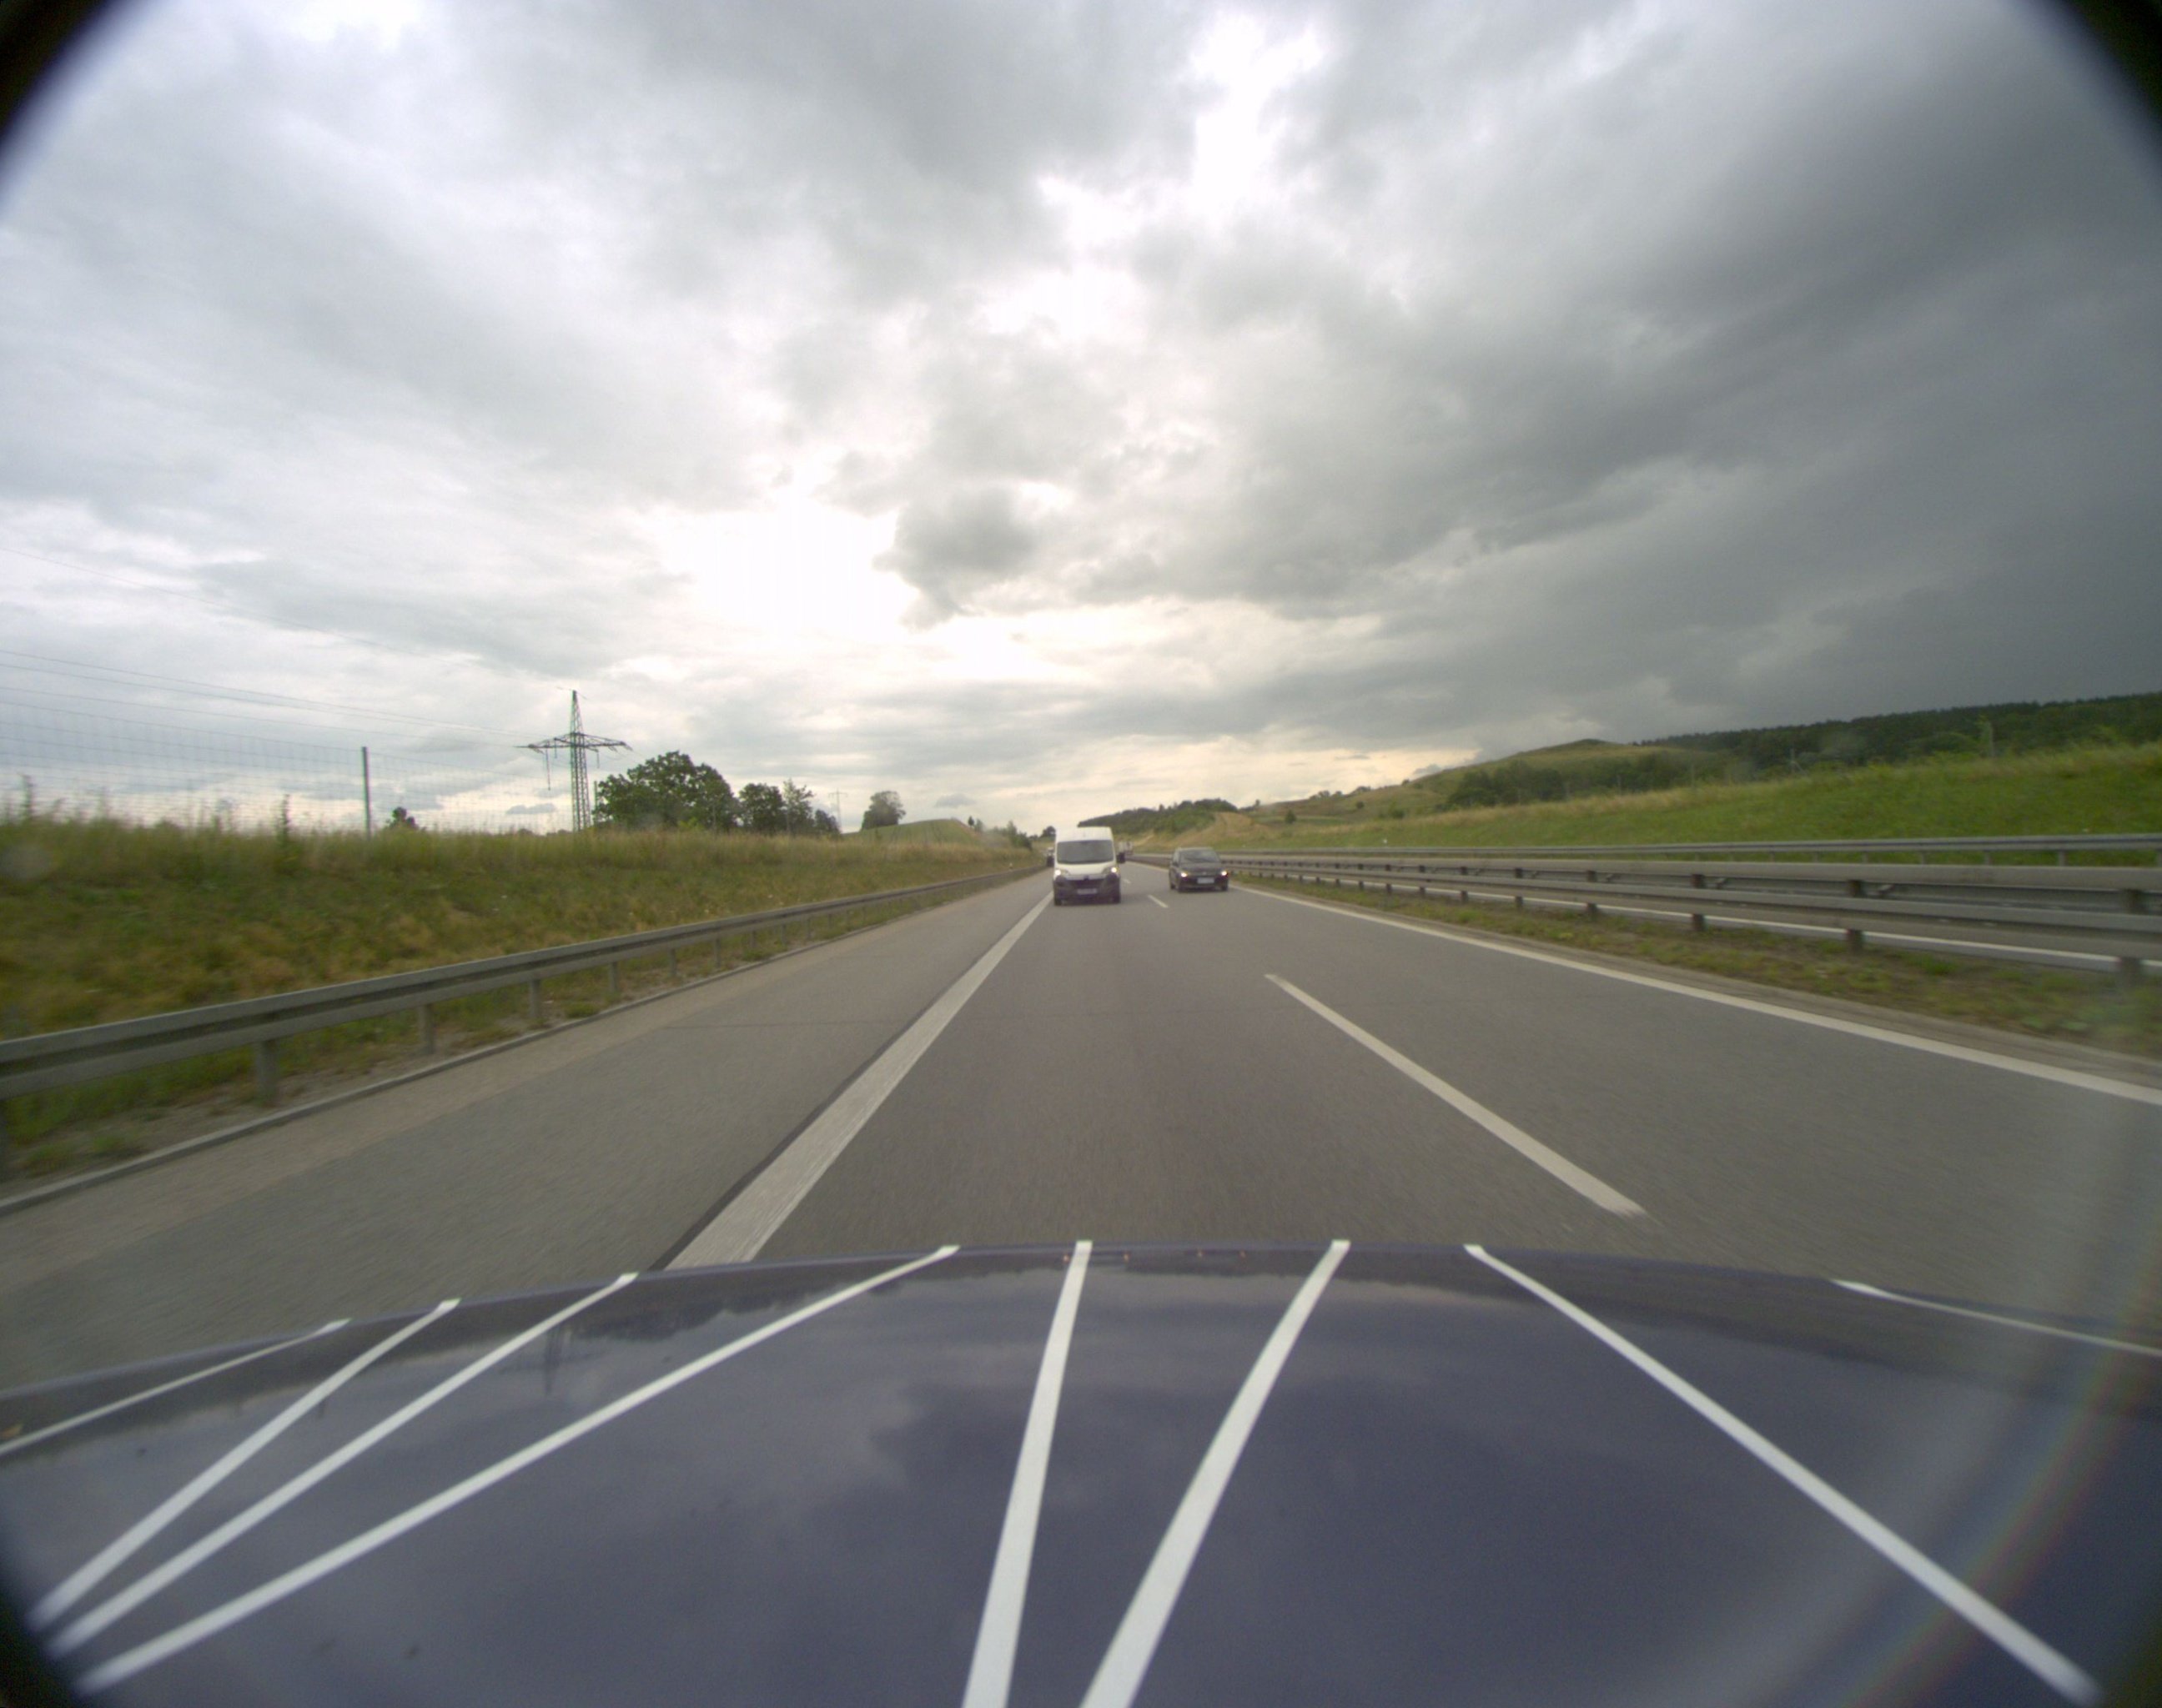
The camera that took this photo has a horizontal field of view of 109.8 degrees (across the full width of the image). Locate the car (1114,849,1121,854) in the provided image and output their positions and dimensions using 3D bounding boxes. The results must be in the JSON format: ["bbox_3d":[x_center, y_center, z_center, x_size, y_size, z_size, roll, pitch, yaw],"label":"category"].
[{"bbox_3d":[10.634,-0.796,221.465,1.768,1.416,3.999,-4,0,-2],"label":"car"}]

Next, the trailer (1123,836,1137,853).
[{"bbox_3d":[14.147,-2.716,221.406,2.802,4.623,14.845,-4,0,0],"label":"trailer"}]

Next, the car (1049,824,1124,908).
[{"bbox_3d":[0.181,0.335,25.907,2.132,2.412,6.111,-3,0,0],"label":"car"}]

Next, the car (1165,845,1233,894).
[{"bbox_3d":[4.463,0.529,29.492,1.901,1.661,5.396,-2,1,2],"label":"car"}]
